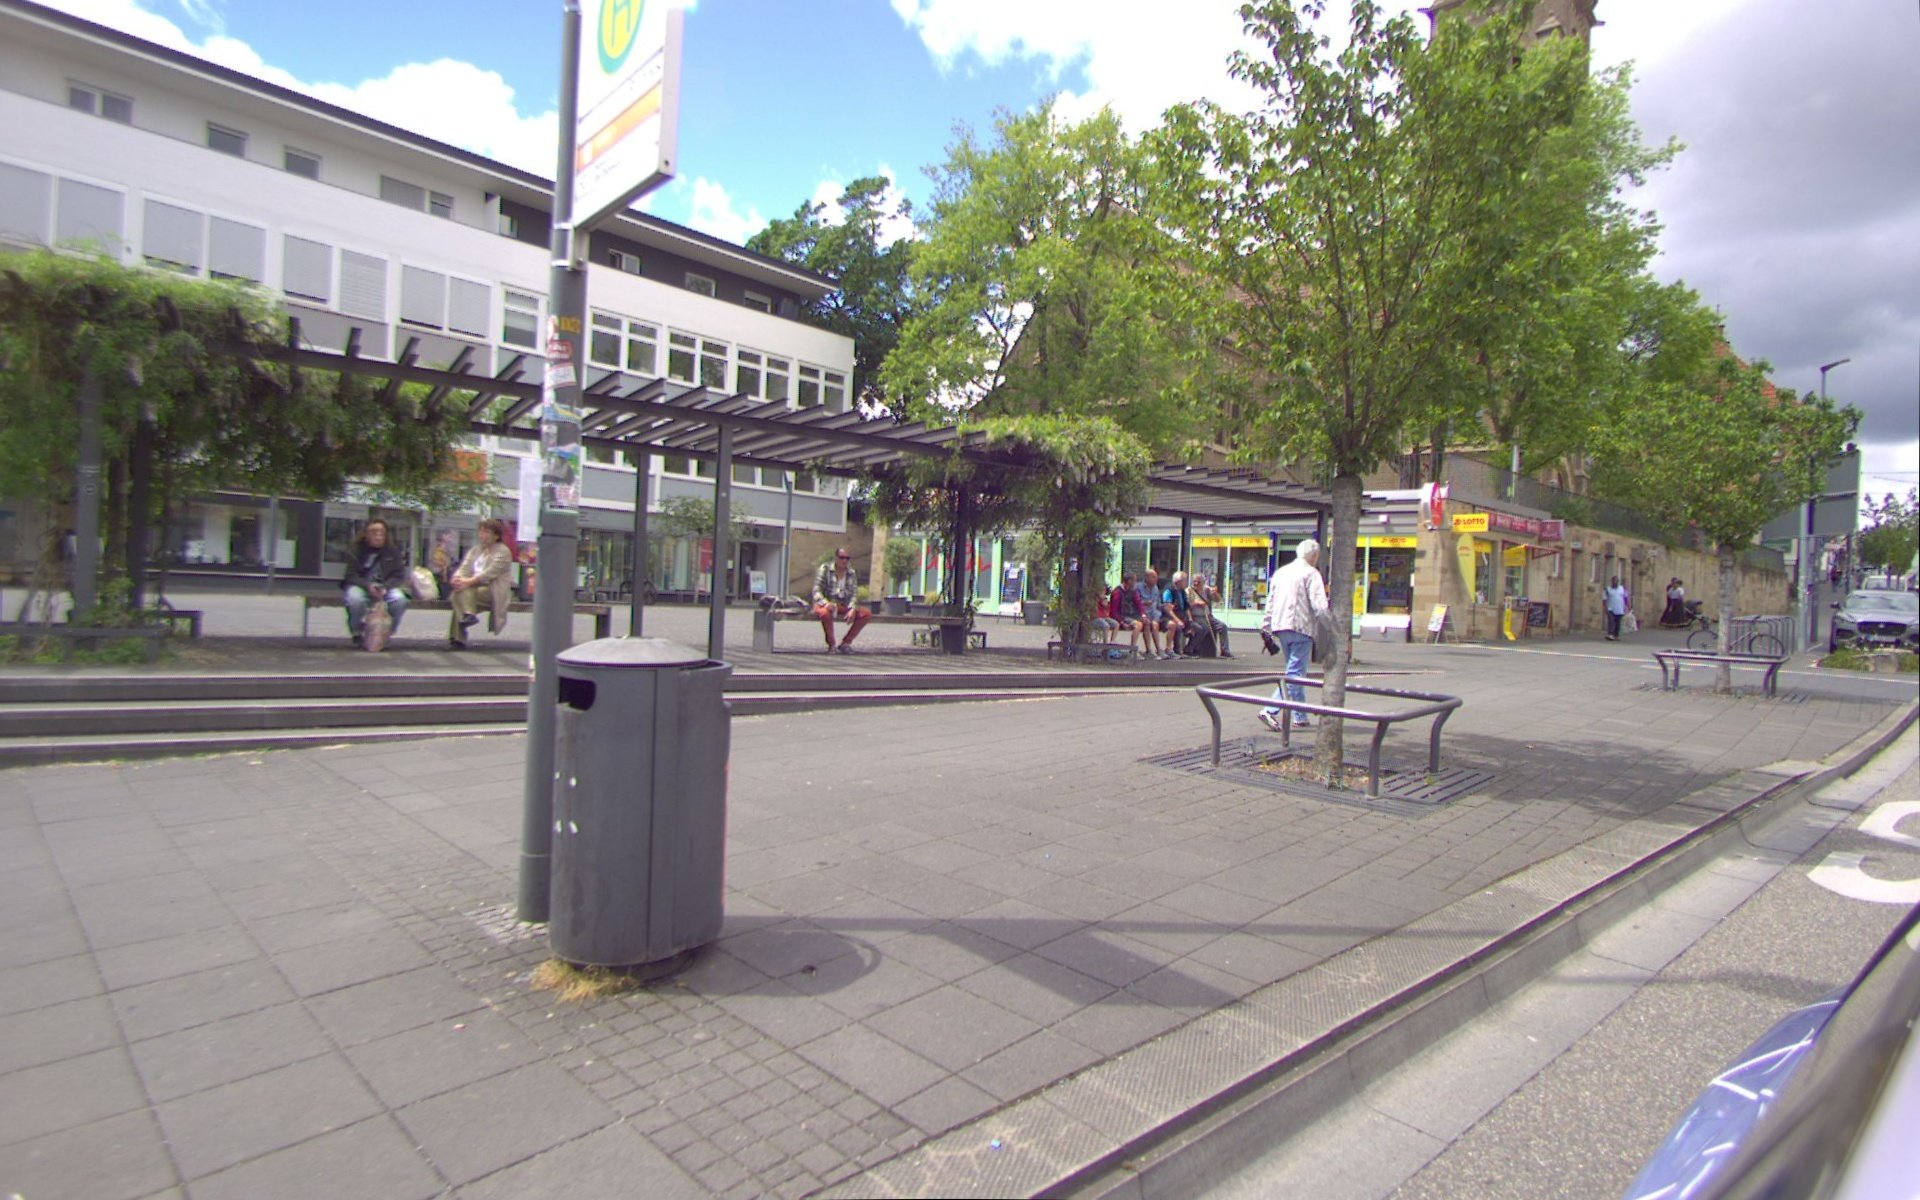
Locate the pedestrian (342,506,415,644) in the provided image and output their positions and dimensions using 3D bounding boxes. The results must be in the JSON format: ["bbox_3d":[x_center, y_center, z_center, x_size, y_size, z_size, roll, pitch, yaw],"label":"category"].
[{"bbox_3d":[-5.452,-0.229,9.484,0.555,1.243,0.570,1,0,-32],"label":"pedestrian"}]

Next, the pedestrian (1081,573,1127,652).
[{"bbox_3d":[2.062,0.172,14.515,0.361,1.102,0.477,4,0,-37],"label":"pedestrian"}]

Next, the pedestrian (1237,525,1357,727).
[{"bbox_3d":[2.988,0.213,8.990,0.700,1.703,0.687,1,1,-31],"label":"pedestrian"}]

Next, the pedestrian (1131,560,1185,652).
[{"bbox_3d":[2.962,0.088,15.138,0.515,1.337,0.499,3,0,-37],"label":"pedestrian"}]

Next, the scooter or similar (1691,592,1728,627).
[{"bbox_3d":[24.795,0.303,33.486,0.550,1.085,0.815,-1,3,-35],"label":"scooter or similar"}]

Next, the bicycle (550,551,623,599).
[{"bbox_3d":[-11.168,-0.756,30.277,1.999,1.323,0.684,4,1,16],"label":"bicycle"}]

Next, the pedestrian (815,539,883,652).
[{"bbox_3d":[-1.350,-0.066,12.254,0.536,1.324,0.625,1,1,-37],"label":"pedestrian"}]

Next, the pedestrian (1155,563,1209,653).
[{"bbox_3d":[3.398,0.117,15.500,0.564,1.337,0.496,4,0,-38],"label":"pedestrian"}]

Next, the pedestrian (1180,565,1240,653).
[{"bbox_3d":[3.913,0.137,15.856,0.575,1.337,0.617,4,0,-38],"label":"pedestrian"}]

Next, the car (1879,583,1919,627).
[{"bbox_3d":[35.403,0.160,37.549,1.753,1.458,4.030,3,4,41],"label":"car"}]

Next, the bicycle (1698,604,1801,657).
[{"bbox_3d":[17.177,0.648,22.052,1.725,1.008,0.340,4,3,40],"label":"bicycle"}]

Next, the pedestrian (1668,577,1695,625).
[{"bbox_3d":[23.806,0.033,33.376,0.574,1.542,0.589,0,2,-45],"label":"pedestrian"}]

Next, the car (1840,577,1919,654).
[{"bbox_3d":[23.706,0.335,25.707,1.928,1.745,4.504,4,3,42],"label":"car"}]

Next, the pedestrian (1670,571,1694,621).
[{"bbox_3d":[24.308,-0.137,34.058,0.497,1.665,0.474,-1,3,-35],"label":"pedestrian"}]

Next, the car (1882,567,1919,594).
[{"bbox_3d":[59.324,-1.241,63.644,1.811,1.465,3.887,6,6,41],"label":"car"}]

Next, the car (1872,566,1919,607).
[{"bbox_3d":[47.351,-0.721,50.754,4.946,1.869,1.888,-2,4,-43],"label":"car"}]

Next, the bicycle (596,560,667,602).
[{"bbox_3d":[-10.147,-0.595,31.263,1.999,1.156,0.684,4,2,16],"label":"bicycle"}]

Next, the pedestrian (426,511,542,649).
[{"bbox_3d":[-4.628,-0.193,9.863,0.670,1.285,0.763,1,0,27],"label":"pedestrian"}]

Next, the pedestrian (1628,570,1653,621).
[{"bbox_3d":[22.593,-0.166,33.597,0.497,1.665,0.474,-1,3,-35],"label":"pedestrian"}]

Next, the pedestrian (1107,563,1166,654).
[{"bbox_3d":[2.562,0.116,14.694,0.531,1.278,0.570,3,0,-37],"label":"pedestrian"}]

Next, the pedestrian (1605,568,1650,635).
[{"bbox_3d":[18.066,0.039,27.416,0.751,1.751,0.596,3,2,12],"label":"pedestrian"}]
